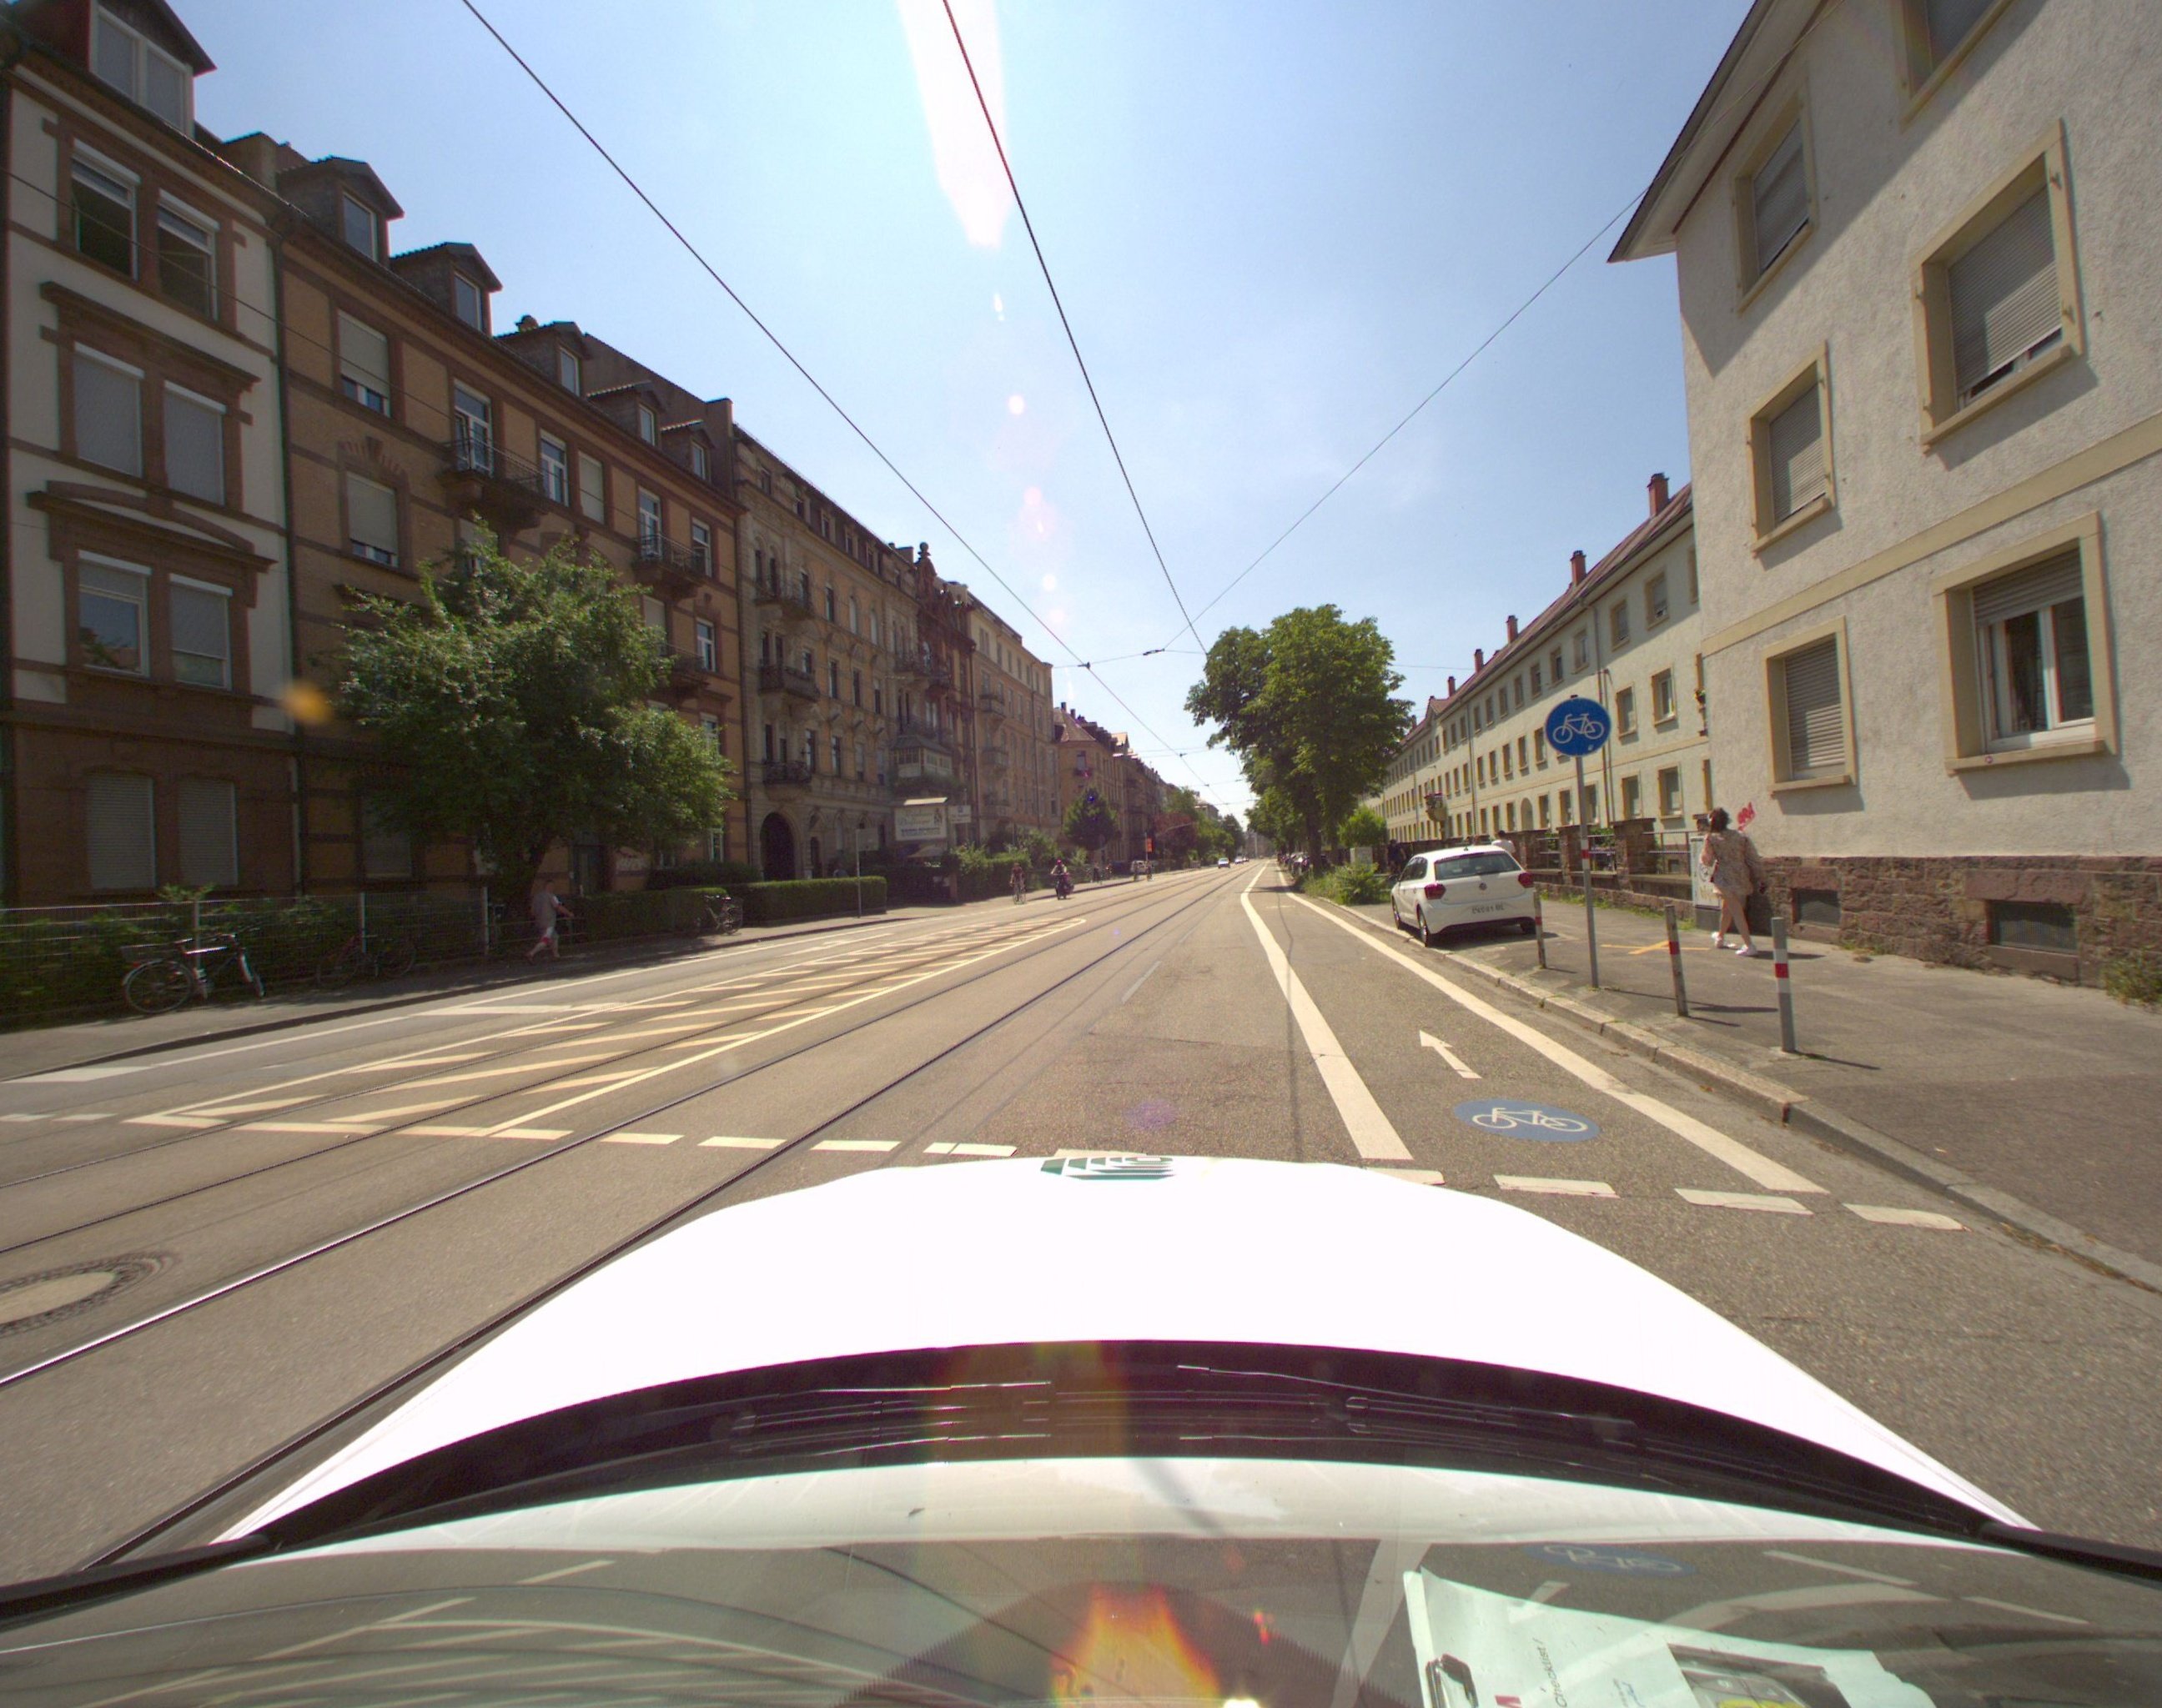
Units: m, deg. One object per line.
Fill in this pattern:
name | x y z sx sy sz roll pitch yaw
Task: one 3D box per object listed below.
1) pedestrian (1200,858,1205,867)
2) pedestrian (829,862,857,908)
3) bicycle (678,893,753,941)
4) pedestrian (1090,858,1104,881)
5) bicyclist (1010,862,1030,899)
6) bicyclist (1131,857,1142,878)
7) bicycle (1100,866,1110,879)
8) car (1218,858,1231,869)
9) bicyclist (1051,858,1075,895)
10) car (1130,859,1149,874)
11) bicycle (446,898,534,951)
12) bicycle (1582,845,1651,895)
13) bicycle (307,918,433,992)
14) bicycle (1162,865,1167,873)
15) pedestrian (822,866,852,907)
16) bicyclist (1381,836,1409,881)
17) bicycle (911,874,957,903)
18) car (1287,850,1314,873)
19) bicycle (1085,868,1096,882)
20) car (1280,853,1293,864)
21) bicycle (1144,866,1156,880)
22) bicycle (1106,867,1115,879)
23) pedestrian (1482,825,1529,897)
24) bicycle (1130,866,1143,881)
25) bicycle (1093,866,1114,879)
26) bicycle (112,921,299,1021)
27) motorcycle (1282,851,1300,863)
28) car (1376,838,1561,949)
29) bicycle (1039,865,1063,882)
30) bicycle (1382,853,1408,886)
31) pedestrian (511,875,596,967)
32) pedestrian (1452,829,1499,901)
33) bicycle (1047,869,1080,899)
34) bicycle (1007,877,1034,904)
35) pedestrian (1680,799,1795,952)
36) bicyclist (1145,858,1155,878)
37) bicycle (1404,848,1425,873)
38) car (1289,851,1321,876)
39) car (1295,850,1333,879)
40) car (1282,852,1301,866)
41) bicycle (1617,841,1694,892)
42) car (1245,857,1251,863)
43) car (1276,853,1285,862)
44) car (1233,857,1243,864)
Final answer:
pedestrian | 22.364 1.532 149.593 0.746 1.629 0.835 -2 -1 9
pedestrian | -9.940 1.305 33.970 0.820 1.857 0.869 -2 -1 -35
bicycle | -9.401 1.600 21.012 0.633 1.093 1.939 -1 0 16
pedestrian | 1.225 1.170 61.510 0.845 1.723 1.143 0 0 14
bicyclist | -2.613 1.138 35.030 0.558 1.515 0.895 -3 -1 14
bicyclist | 4.427 1.064 64.948 0.629 1.584 1.032 -4 -1 13
bicycle | 1.961 1.514 66.471 0.436 0.983 1.716 -3 -1 12
car | 21.325 1.369 121.097 1.673 1.449 4.014 -3 -1 13
bicyclist | -0.806 1.015 37.400 0.802 1.630 0.984 -3 -1 13
car | 6.844 1.450 94.267 1.855 1.600 4.111 -2 -1 8
bicycle | -12.120 1.447 16.709 1.634 0.996 0.497 -3 -1 14
bicycle | 12.170 0.352 18.566 0.524 1.063 1.869 -3 0 8
bicycle | -11.969 1.676 13.771 0.456 1.056 1.571 -3 -1 16
bicycle | 10.513 1.884 102.754 0.451 1.003 1.811 -3 -1 10
pedestrian | -10.609 1.416 35.374 0.899 1.700 0.829 -3 -1 40
bicyclist | 10.740 0.149 27.883 0.705 1.452 1.014 -3 -1 15
bicycle | -6.429 1.518 35.630 1.858 1.227 0.570 -1 -1 10
car | 17.822 0.605 66.070 1.932 1.651 4.901 -3 0 16
bicycle | 0.686 1.562 61.466 0.493 0.987 1.716 1 0 12
car | 33.007 0.687 131.035 1.762 1.501 4.320 -4 -1 12
bicycle | 5.513 1.505 64.923 0.577 1.078 1.897 -4 -1 13
bicycle | 2.447 1.614 68.461 0.436 0.983 1.716 -3 -1 12
pedestrian | 10.436 0.168 20.055 0.692 1.669 0.759 -6 -1 12
bicycle | 4.407 1.559 64.693 0.625 1.078 1.882 -4 -1 13
bicycle | 1.909 1.617 69.981 1.692 1.037 0.553 -3 -1 17
bicycle | -12.448 1.627 11.662 0.568 1.169 1.723 -3 -1 16
motorcycle | 28.318 0.456 109.933 0.873 1.540 2.296 -2 -1 -34
car | 6.344 0.590 13.858 1.766 1.410 4.170 -8 -2 12
bicycle | -2.041 1.326 55.113 1.499 1.043 0.497 -3 -1 14
bicycle | 10.767 0.519 27.958 0.597 1.051 1.830 -3 -1 15
pedestrian | -10.379 1.300 16.050 0.865 1.700 1.018 -3 -1 19
pedestrian | 9.567 0.264 19.766 0.692 1.669 0.872 -6 -1 12
bicycle | -0.790 1.358 37.391 0.802 1.271 2.560 -3 -1 14
bicycle | -2.583 1.557 35.061 0.563 1.038 1.836 -3 -1 14
pedestrian | 7.548 0.243 9.406 0.693 1.669 0.759 -3 -1 12
bicyclist | 5.485 1.086 64.947 0.588 1.544 0.955 -4 -1 13
bicycle | 17.189 0.309 42.022 0.592 1.209 1.977 -5 -1 13
car | 15.217 0.622 55.533 1.721 1.552 4.468 -3 0 11
car | 13.446 0.603 47.169 1.646 1.515 4.012 -3 -1 10
car | 24.556 0.579 94.902 1.758 1.426 4.877 -3 0 11
bicycle | 12.976 0.267 18.459 0.593 1.063 1.846 -3 0 8
car | 47.208 1.722 230.364 1.674 1.454 3.762 -3 -1 13
car | 49.799 0.862 203.130 1.979 2.035 4.714 -3 0 13
car | 34.650 1.482 179.655 1.744 1.424 4.015 -4 -1 14
